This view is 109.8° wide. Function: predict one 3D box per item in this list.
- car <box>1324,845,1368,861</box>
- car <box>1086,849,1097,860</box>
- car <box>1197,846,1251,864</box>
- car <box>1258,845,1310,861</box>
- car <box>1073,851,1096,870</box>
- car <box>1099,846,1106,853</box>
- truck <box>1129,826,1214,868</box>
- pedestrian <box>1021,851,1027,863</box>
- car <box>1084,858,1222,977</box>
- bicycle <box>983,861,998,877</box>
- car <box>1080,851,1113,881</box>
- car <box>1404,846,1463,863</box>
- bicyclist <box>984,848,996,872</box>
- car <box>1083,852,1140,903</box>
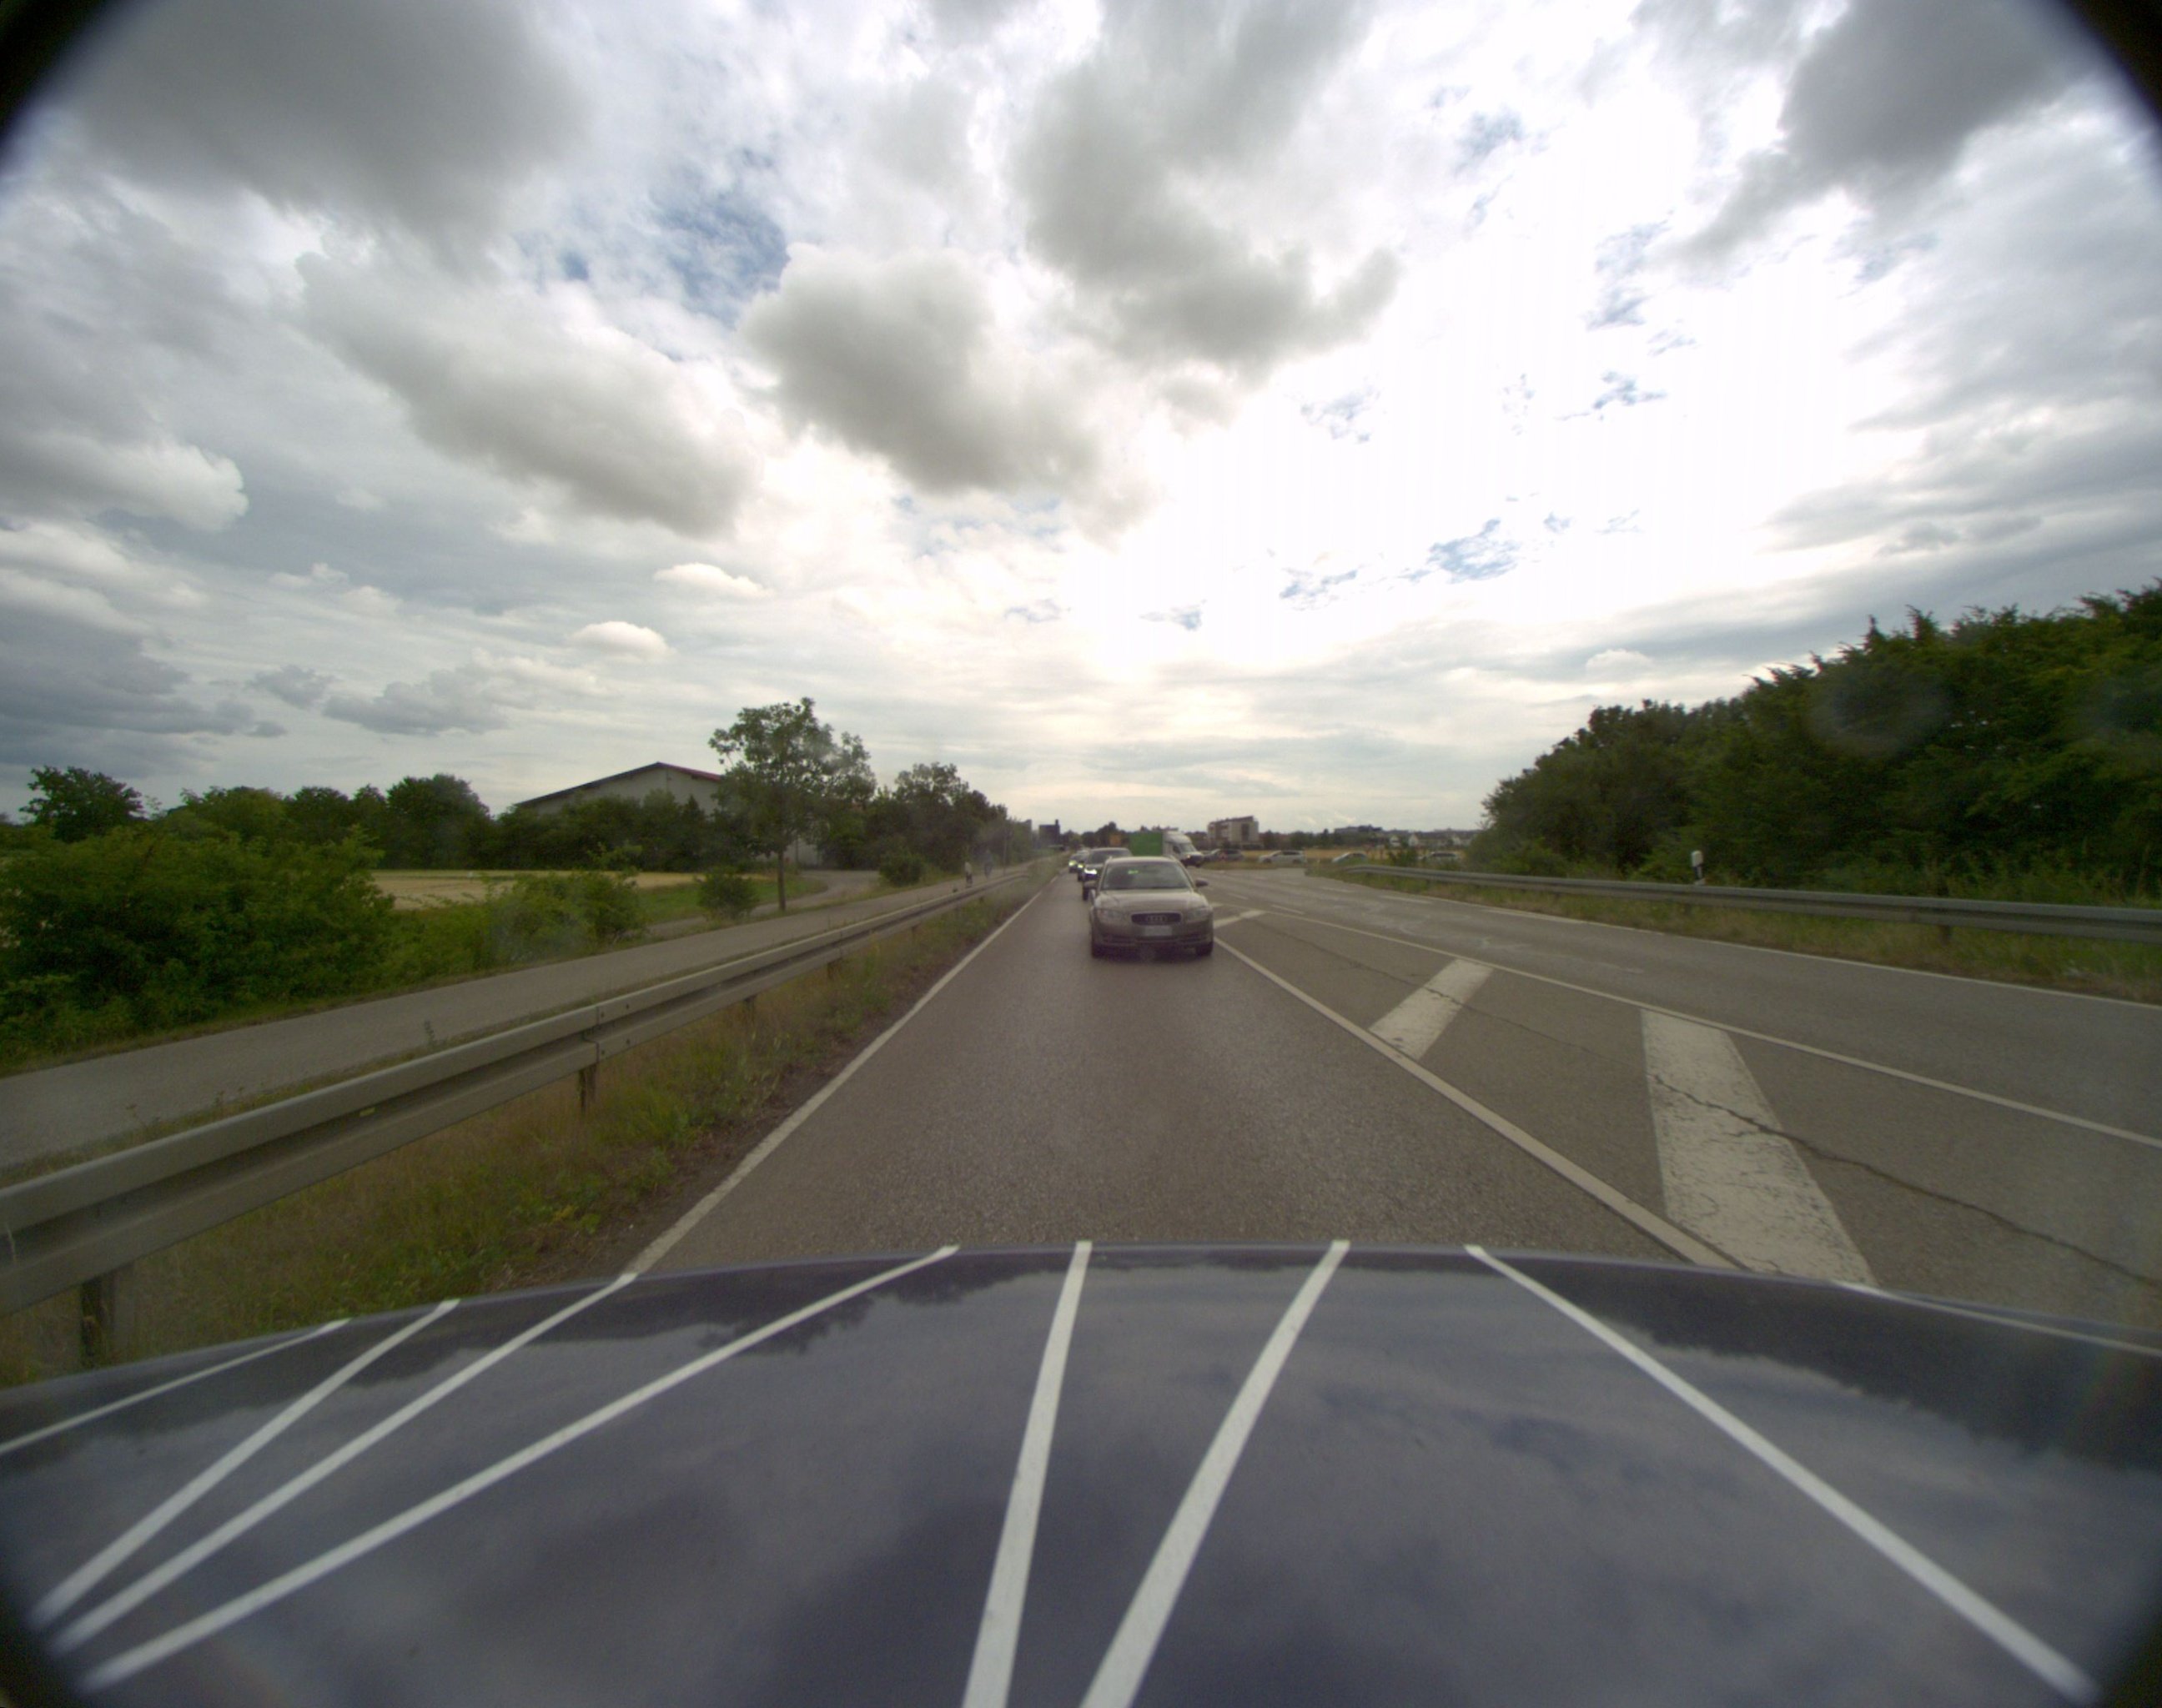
[{"bbox_3d":[25.438,-0.128,73.066,3.714,1.490,1.731,-1,1,7],"label":"car"},{"bbox_3d":[1.995,0.110,144.189,1.998,2.002,3.999,-2,1,1],"label":"car"},{"bbox_3d":[13.904,0.085,74.098,4.816,1.680,1.999,-1,1,-4],"label":"car"},{"bbox_3d":[19.659,-0.114,73.886,4.673,1.490,2.001,-1,1,7],"label":"car"},{"bbox_3d":[0.266,0.479,59.785,1.730,1.436,4.203,-2,1,0],"label":"car"},{"bbox_3d":[6.375,-1.243,228.921,1.998,2.002,3.999,-2,1,1],"label":"car"},{"bbox_3d":[7.955,-0.582,67.781,2.938,3.542,7.585,-3,1,-37],"label":"truck"},{"bbox_3d":[-6.993,0.393,93.490,0.592,1.512,0.501,-2,1,7],"label":"pedestrian"},{"bbox_3d":[0.941,0.840,11.923,1.730,1.436,4.203,-2,1,0],"label":"car"},{"bbox_3d":[-5.843,0.985,49.077,0.640,0.973,2.072,-1,1,0],"label":"bicycle"},{"bbox_3d":[0.815,0.613,41.968,1.730,1.478,4.203,-2,1,0],"label":"car"},{"bbox_3d":[33.404,0.039,72.150,4.673,1.490,2.001,-1,1,7],"label":"car"},{"bbox_3d":[-5.846,0.377,49.046,0.640,1.573,0.969,-1,1,0],"label":"bicyclist"},{"bbox_3d":[0.970,0.717,25.833,1.730,1.534,4.203,-2,1,0],"label":"car"}]
